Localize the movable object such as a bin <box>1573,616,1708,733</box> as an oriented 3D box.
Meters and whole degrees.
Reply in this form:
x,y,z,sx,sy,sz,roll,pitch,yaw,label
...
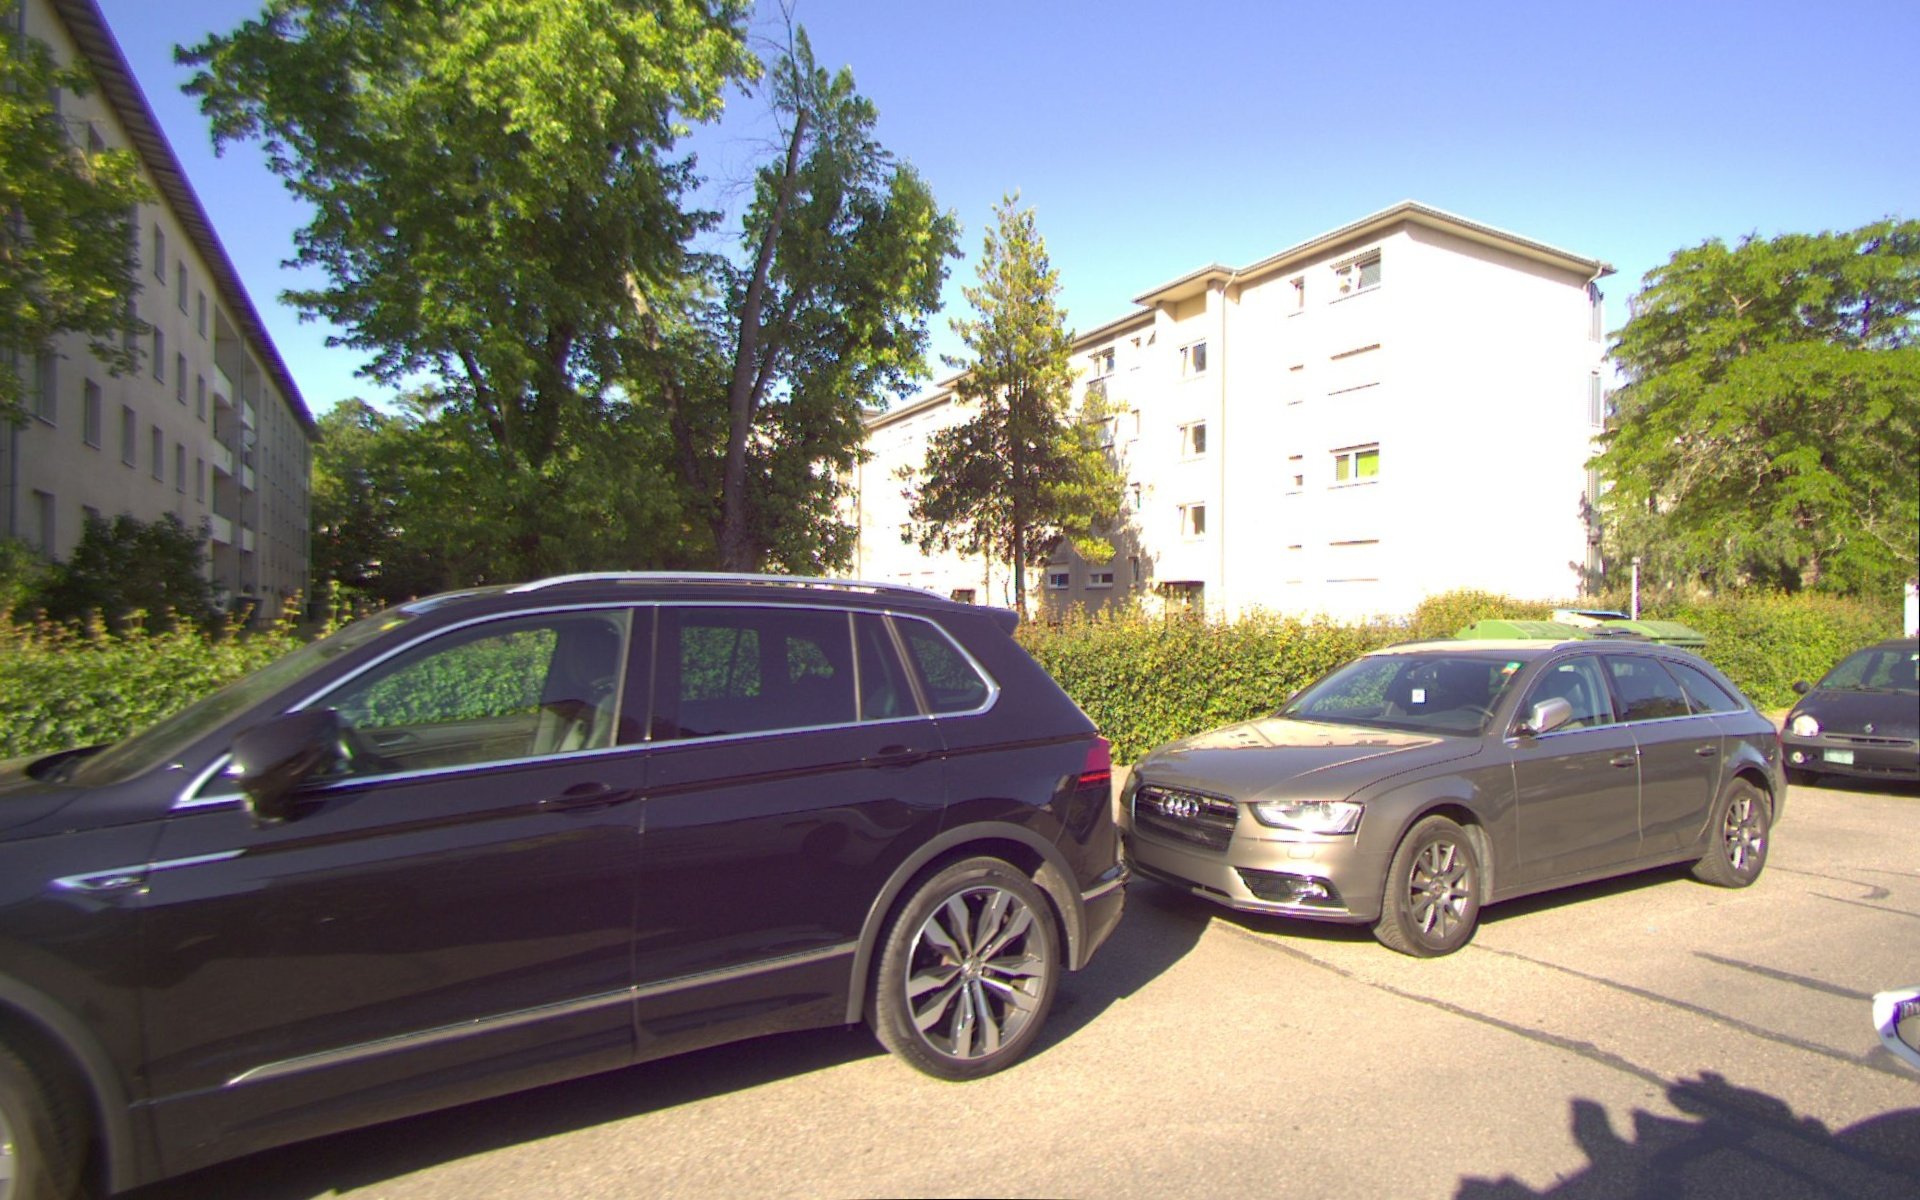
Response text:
x,y,z,sx,sy,sz,roll,pitch,yaw,label
9.175,0.971,13.553,1.311,1.434,0.996,1,2,-31,movable object such as a bin

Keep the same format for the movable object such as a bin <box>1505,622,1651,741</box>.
x,y,z,sx,sy,sz,roll,pitch,yaw,label
7.980,1.010,12.992,1.243,1.385,1.113,1,2,-31,movable object such as a bin

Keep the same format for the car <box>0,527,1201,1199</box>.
x,y,z,sx,sy,sz,roll,pitch,yaw,label
-1.407,0.735,3.384,4.339,1.690,1.746,1,-2,-31,car

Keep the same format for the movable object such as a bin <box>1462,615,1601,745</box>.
x,y,z,sx,sy,sz,roll,pitch,yaw,label
6.918,0.933,12.167,1.311,1.434,0.890,1,2,-31,movable object such as a bin

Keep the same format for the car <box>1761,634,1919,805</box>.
x,y,z,sx,sy,sz,roll,pitch,yaw,label
9.752,1.091,10.016,3.455,1.483,1.641,1,-2,-31,car

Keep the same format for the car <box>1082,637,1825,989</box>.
x,y,z,sx,sy,sz,roll,pitch,yaw,label
3.091,0.942,5.982,4.620,1.403,1.746,2,-2,-31,car
